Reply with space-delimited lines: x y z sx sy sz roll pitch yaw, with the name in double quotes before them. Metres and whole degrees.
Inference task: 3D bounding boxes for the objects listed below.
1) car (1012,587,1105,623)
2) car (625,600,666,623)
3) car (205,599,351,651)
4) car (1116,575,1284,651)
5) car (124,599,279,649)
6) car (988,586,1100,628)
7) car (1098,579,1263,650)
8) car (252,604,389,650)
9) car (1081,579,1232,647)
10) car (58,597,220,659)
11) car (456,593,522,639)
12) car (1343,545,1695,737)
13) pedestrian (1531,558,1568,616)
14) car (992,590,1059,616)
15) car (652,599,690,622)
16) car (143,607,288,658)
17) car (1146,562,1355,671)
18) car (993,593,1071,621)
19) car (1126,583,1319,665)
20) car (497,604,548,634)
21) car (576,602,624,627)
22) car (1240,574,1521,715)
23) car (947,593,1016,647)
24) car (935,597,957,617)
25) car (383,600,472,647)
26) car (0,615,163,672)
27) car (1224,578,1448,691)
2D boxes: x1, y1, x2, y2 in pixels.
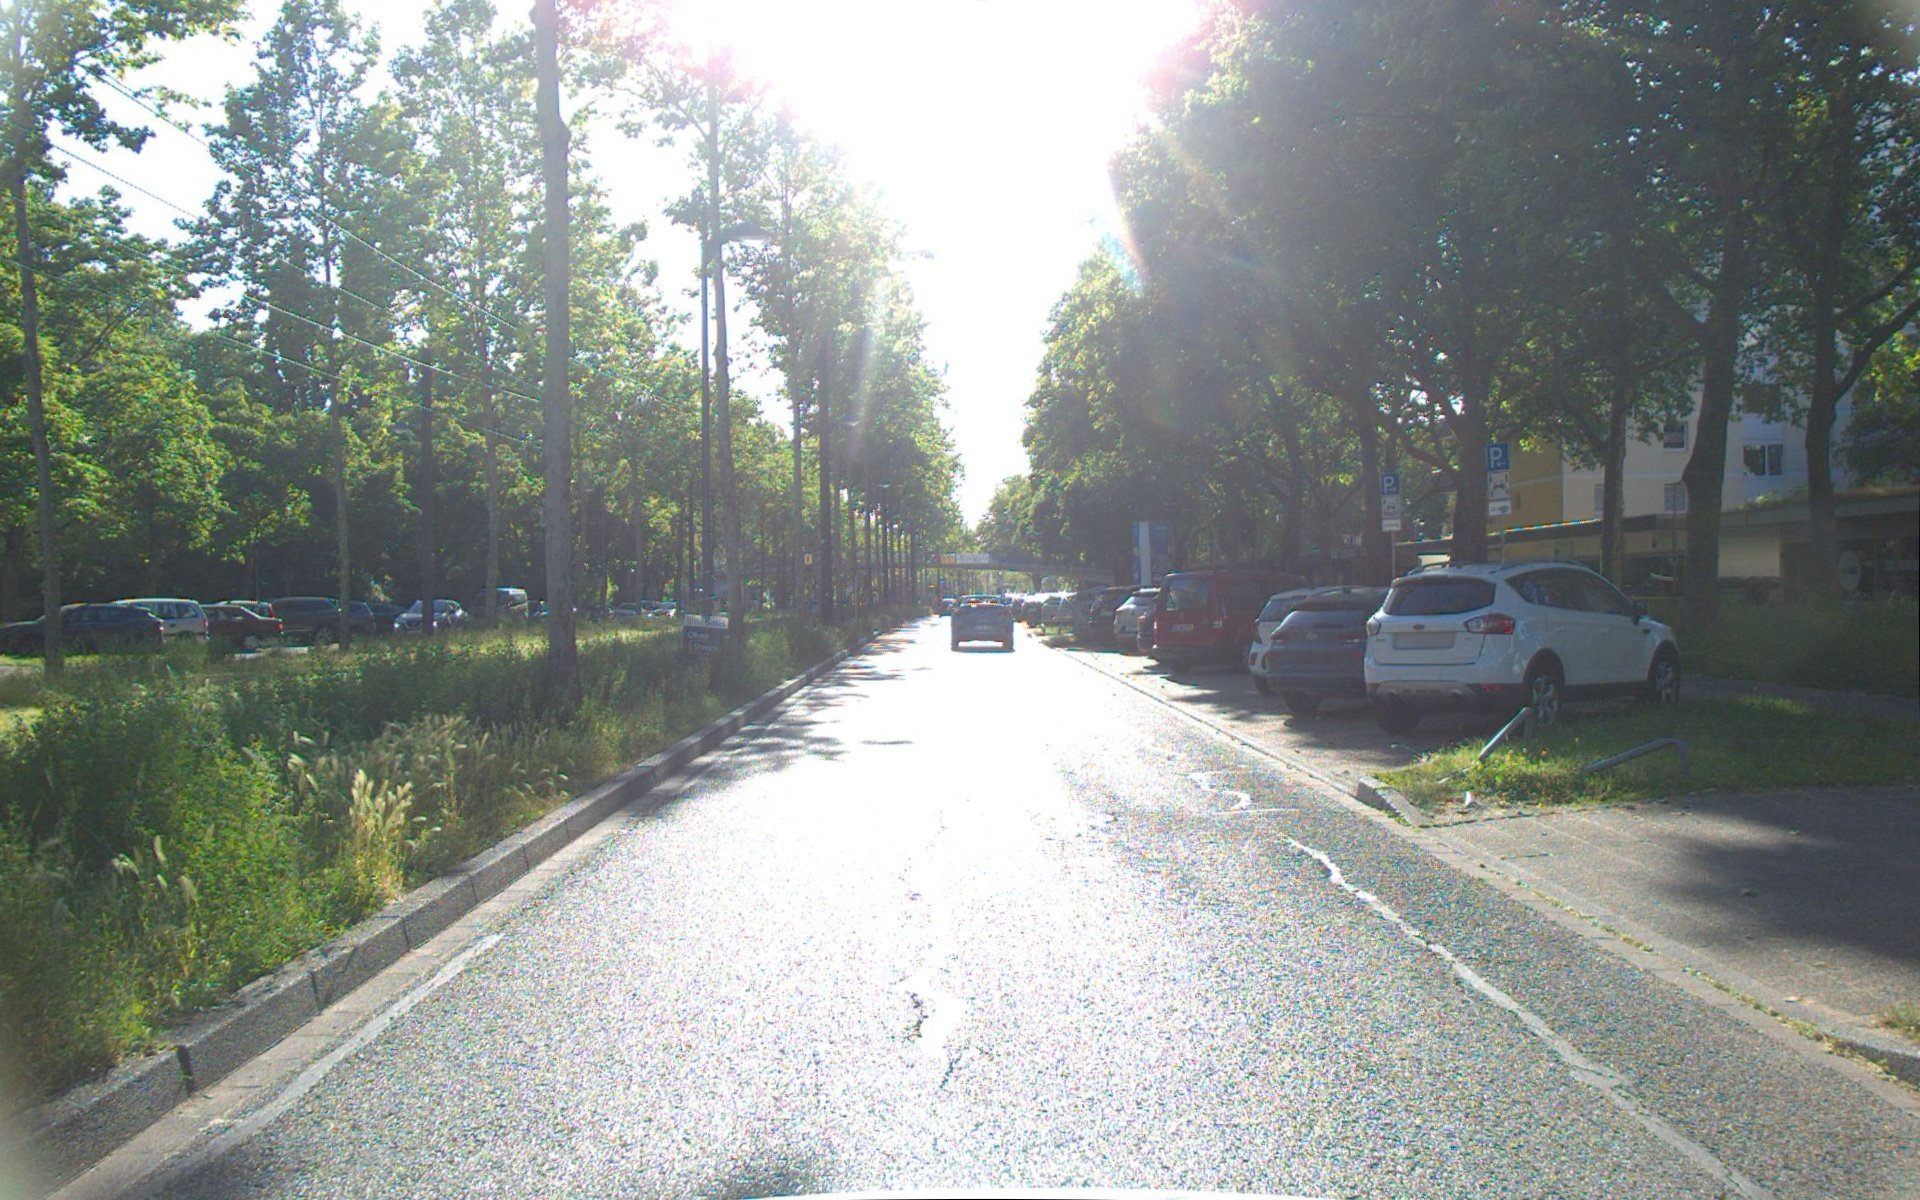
"car" 4.538 0.208 75.877 4.297 1.449 1.826 -3 0 -45
"car" -21.748 0.809 114.529 1.952 1.478 4.001 2 0 1
"car" -23.996 0.849 58.295 4.452 1.704 1.767 -1 0 -44
"car" 5.696 0.291 39.008 4.053 1.609 1.753 -2 0 -43
"car" -25.122 0.775 54.865 4.439 1.507 1.596 -1 0 -37
"car" 3.333 0.271 64.945 4.461 1.469 1.826 -3 0 -45
"car" 5.612 0.361 41.945 4.039 1.609 1.759 -2 0 -36
"car" -23.913 0.983 61.906 4.452 1.596 1.767 -1 0 -44
"car" 5.406 0.333 45.211 4.280 1.747 1.612 -1 0 -40
"car" -24.144 0.806 48.716 3.948 1.704 1.759 -1 0 -44
"car" -22.887 0.740 80.543 1.611 2.130 4.915 2 0 1
"car" 5.917 0.355 17.304 3.994 1.734 1.734 -2 0 -42
"pedestrian" 20.138 -0.430 56.522 0.856 1.947 0.869 -1 0 -9
"car" 4.370 0.182 110.010 4.587 1.710 1.827 0 0 -43
"car" -21.403 0.762 122.560 1.952 1.617 4.168 2 0 1
"car" -23.828 1.018 52.998 3.890 1.513 1.767 -1 0 -44
"car" 5.473 0.279 30.920 4.049 1.842 1.627 -2 0 -41
"car" 4.156 0.365 94.524 1.945 1.484 4.595 -1 0 43
"car" 5.521 0.474 34.607 4.042 1.507 1.630 -2 0 -37
"car" -22.901 0.973 86.706 1.611 1.478 3.664 2 0 1
"car" -22.308 0.879 102.648 1.952 1.478 4.001 2 0 1
"car" 5.245 0.498 20.381 3.759 1.496 1.624 -2 0 -44
"car" 0.591 0.544 47.092 1.883 1.436 4.000 0 1 0
"car" -1.144 0.531 135.649 1.811 1.562 3.866 -1 0 0
"car" -18.699 0.789 58.288 1.885 1.532 4.084 -1 0 -2
"car" -24.255 1.162 45.248 4.099 1.361 1.767 -1 1 -44
"car" 5.603 0.474 24.423 1.622 1.473 3.605 -2 0 43
